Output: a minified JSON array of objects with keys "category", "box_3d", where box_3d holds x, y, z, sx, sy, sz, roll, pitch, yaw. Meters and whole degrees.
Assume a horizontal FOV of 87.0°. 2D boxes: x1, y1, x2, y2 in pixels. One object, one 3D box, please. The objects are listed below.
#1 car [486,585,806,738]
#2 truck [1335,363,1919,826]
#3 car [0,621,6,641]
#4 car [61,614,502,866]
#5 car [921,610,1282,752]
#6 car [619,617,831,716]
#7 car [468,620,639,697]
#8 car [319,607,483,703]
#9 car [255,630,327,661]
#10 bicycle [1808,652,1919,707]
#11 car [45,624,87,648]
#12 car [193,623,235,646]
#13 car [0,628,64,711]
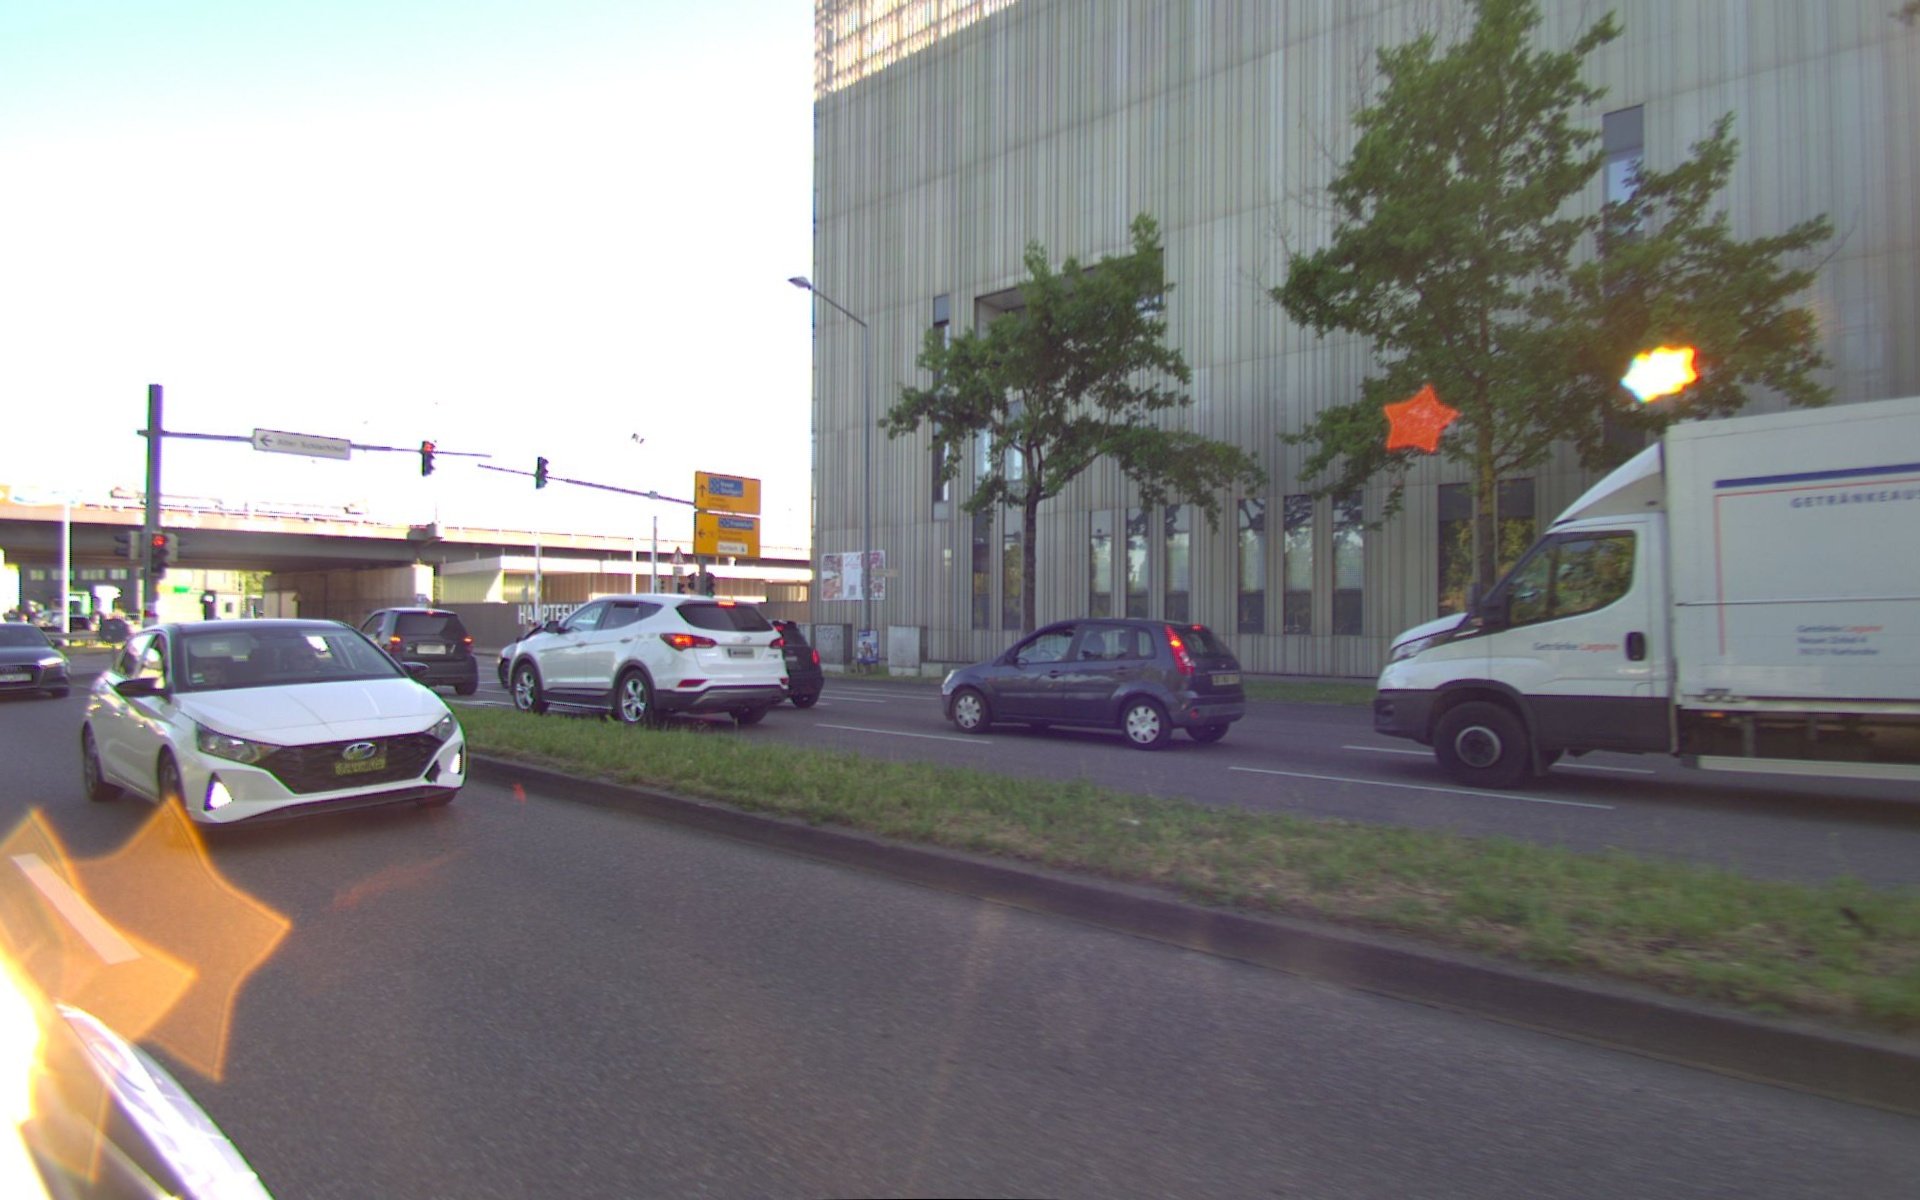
[{"category":"car","box_3d":[-4.282,0.761,13.402,4.655,1.695,1.805,-1,-4,40]},{"category":"truck","box_3d":[6.878,0.023,7.683,7.111,2.983,2.658,-1,-4,41]},{"category":"car","box_3d":[-77.425,2.414,80.555,3.997,1.552,1.705,-1,-4,41]},{"category":"car","box_3d":[-5.349,0.848,7.769,4.071,1.419,1.760,-2,-1,40]},{"category":"car","box_3d":[1.607,0.910,12.280,3.997,1.435,1.816,-2,-4,40]},{"category":"car","box_3d":[-3.977,1.070,16.900,3.638,1.481,1.603,-2,-4,41]},{"category":"car","box_3d":[-8.518,1.188,21.093,3.749,1.452,1.686,-2,-3,39]},{"category":"car","box_3d":[-10.231,0.969,18.461,3.211,1.592,1.585,-1,-3,41]},{"category":"car","box_3d":[-33.267,2.225,50.290,4.878,1.452,1.685,-1,-3,40]},{"category":"bicycle","box_3d":[15.823,1.361,17.504,1.753,0.897,0.507,-2,-2,40]},{"category":"car","box_3d":[-61.078,2.467,69.139,3.998,1.552,1.611,-1,-4,42]},{"category":"car","box_3d":[-51.215,2.353,69.469,3.424,1.544,1.551,-2,-2,41]},{"category":"car","box_3d":[-18.203,1.242,18.839,4.362,1.415,1.680,-1,-2,40]}]
